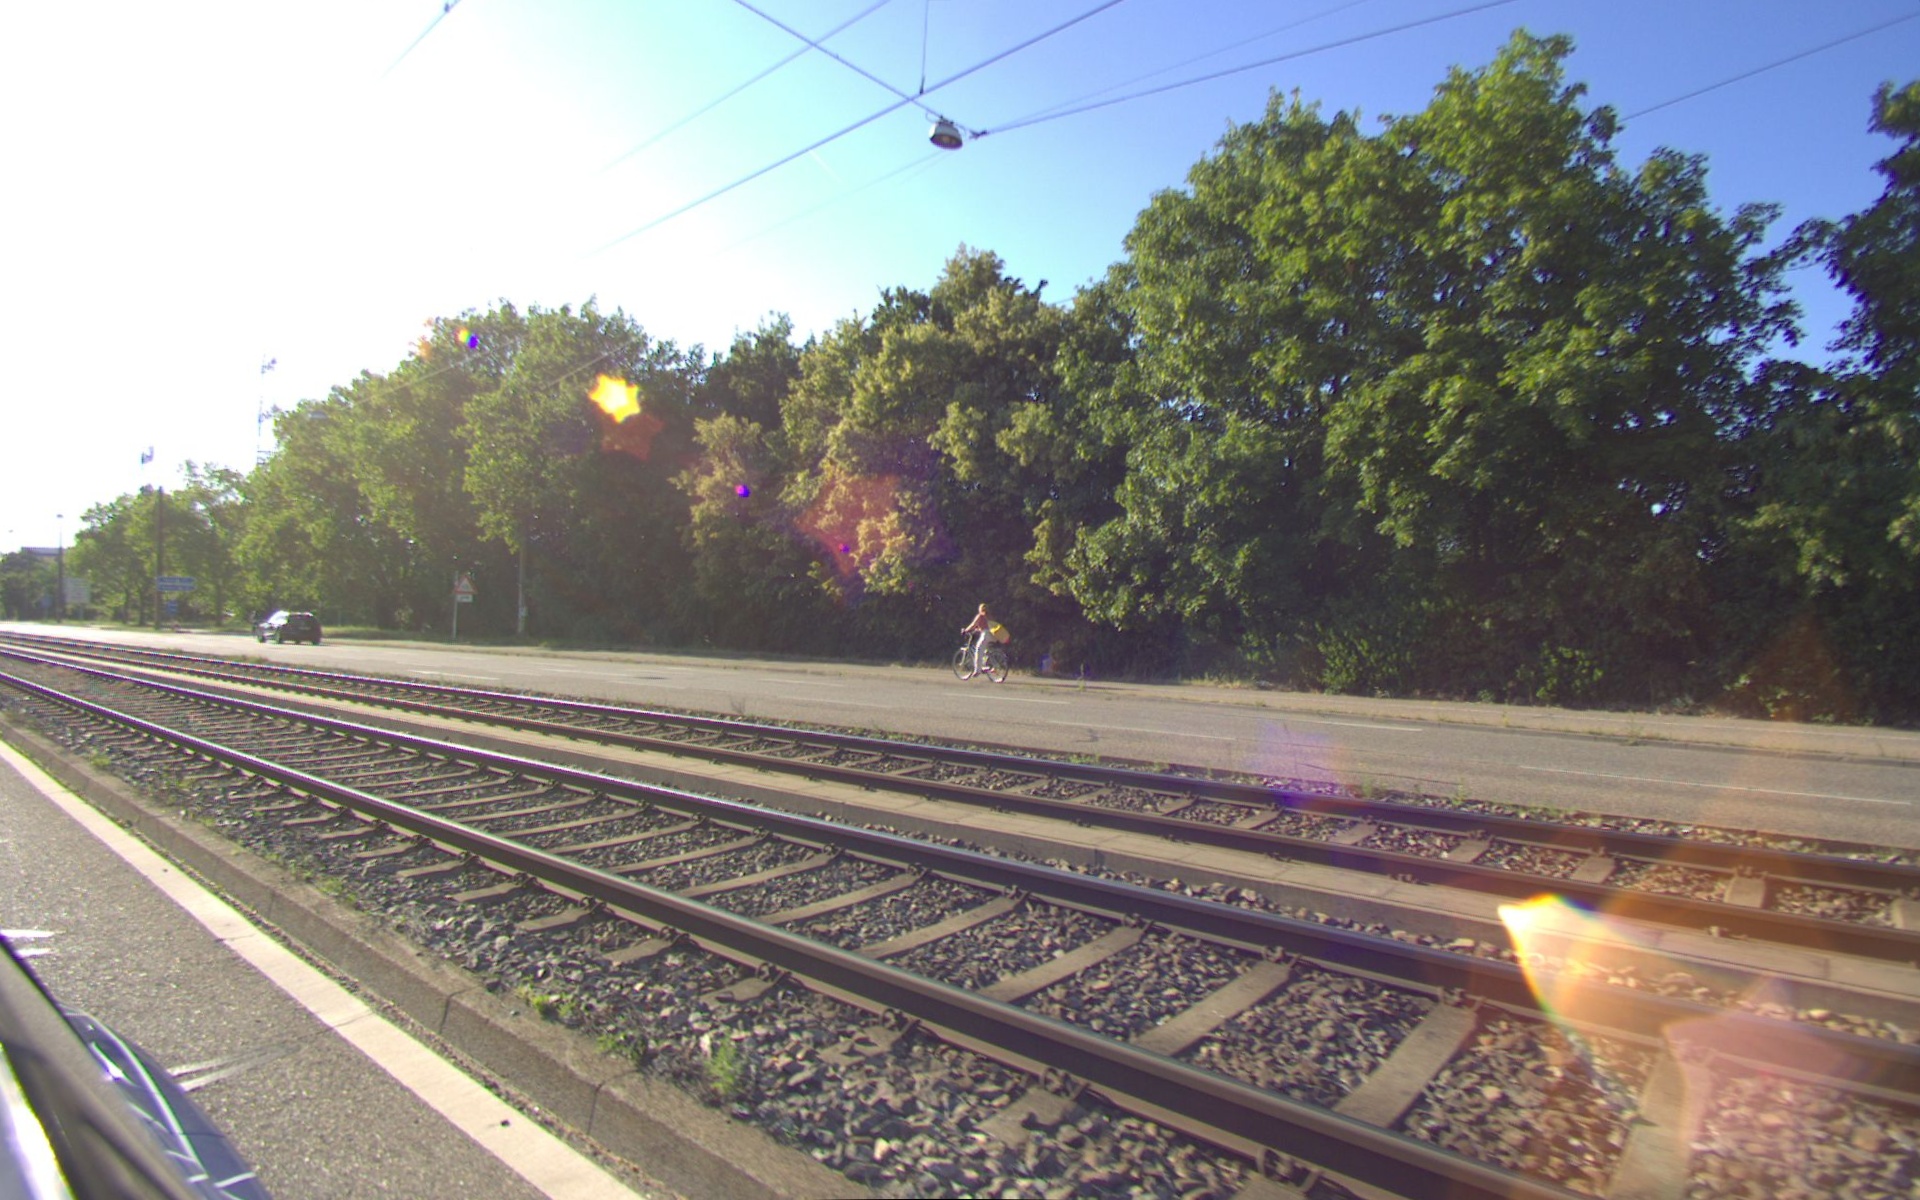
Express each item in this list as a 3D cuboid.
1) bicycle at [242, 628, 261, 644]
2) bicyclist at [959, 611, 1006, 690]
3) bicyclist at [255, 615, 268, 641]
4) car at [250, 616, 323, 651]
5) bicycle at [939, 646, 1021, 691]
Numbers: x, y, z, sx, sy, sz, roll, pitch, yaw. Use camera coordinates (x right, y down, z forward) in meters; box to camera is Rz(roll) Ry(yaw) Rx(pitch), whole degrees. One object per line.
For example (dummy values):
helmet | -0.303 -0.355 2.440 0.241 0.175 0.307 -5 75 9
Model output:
bicycle | -46.765 2.393 66.775 2.238 0.993 0.544 0 1 42
bicyclist | 0.497 1.115 22.569 0.919 1.700 0.502 0 1 44
bicyclist | -46.441 1.862 67.313 0.544 1.703 0.821 -2 1 -45
car | -34.797 1.699 52.252 4.794 1.698 1.972 0 -2 42
bicycle | 0.427 1.512 22.646 2.028 0.899 0.502 0 1 44
